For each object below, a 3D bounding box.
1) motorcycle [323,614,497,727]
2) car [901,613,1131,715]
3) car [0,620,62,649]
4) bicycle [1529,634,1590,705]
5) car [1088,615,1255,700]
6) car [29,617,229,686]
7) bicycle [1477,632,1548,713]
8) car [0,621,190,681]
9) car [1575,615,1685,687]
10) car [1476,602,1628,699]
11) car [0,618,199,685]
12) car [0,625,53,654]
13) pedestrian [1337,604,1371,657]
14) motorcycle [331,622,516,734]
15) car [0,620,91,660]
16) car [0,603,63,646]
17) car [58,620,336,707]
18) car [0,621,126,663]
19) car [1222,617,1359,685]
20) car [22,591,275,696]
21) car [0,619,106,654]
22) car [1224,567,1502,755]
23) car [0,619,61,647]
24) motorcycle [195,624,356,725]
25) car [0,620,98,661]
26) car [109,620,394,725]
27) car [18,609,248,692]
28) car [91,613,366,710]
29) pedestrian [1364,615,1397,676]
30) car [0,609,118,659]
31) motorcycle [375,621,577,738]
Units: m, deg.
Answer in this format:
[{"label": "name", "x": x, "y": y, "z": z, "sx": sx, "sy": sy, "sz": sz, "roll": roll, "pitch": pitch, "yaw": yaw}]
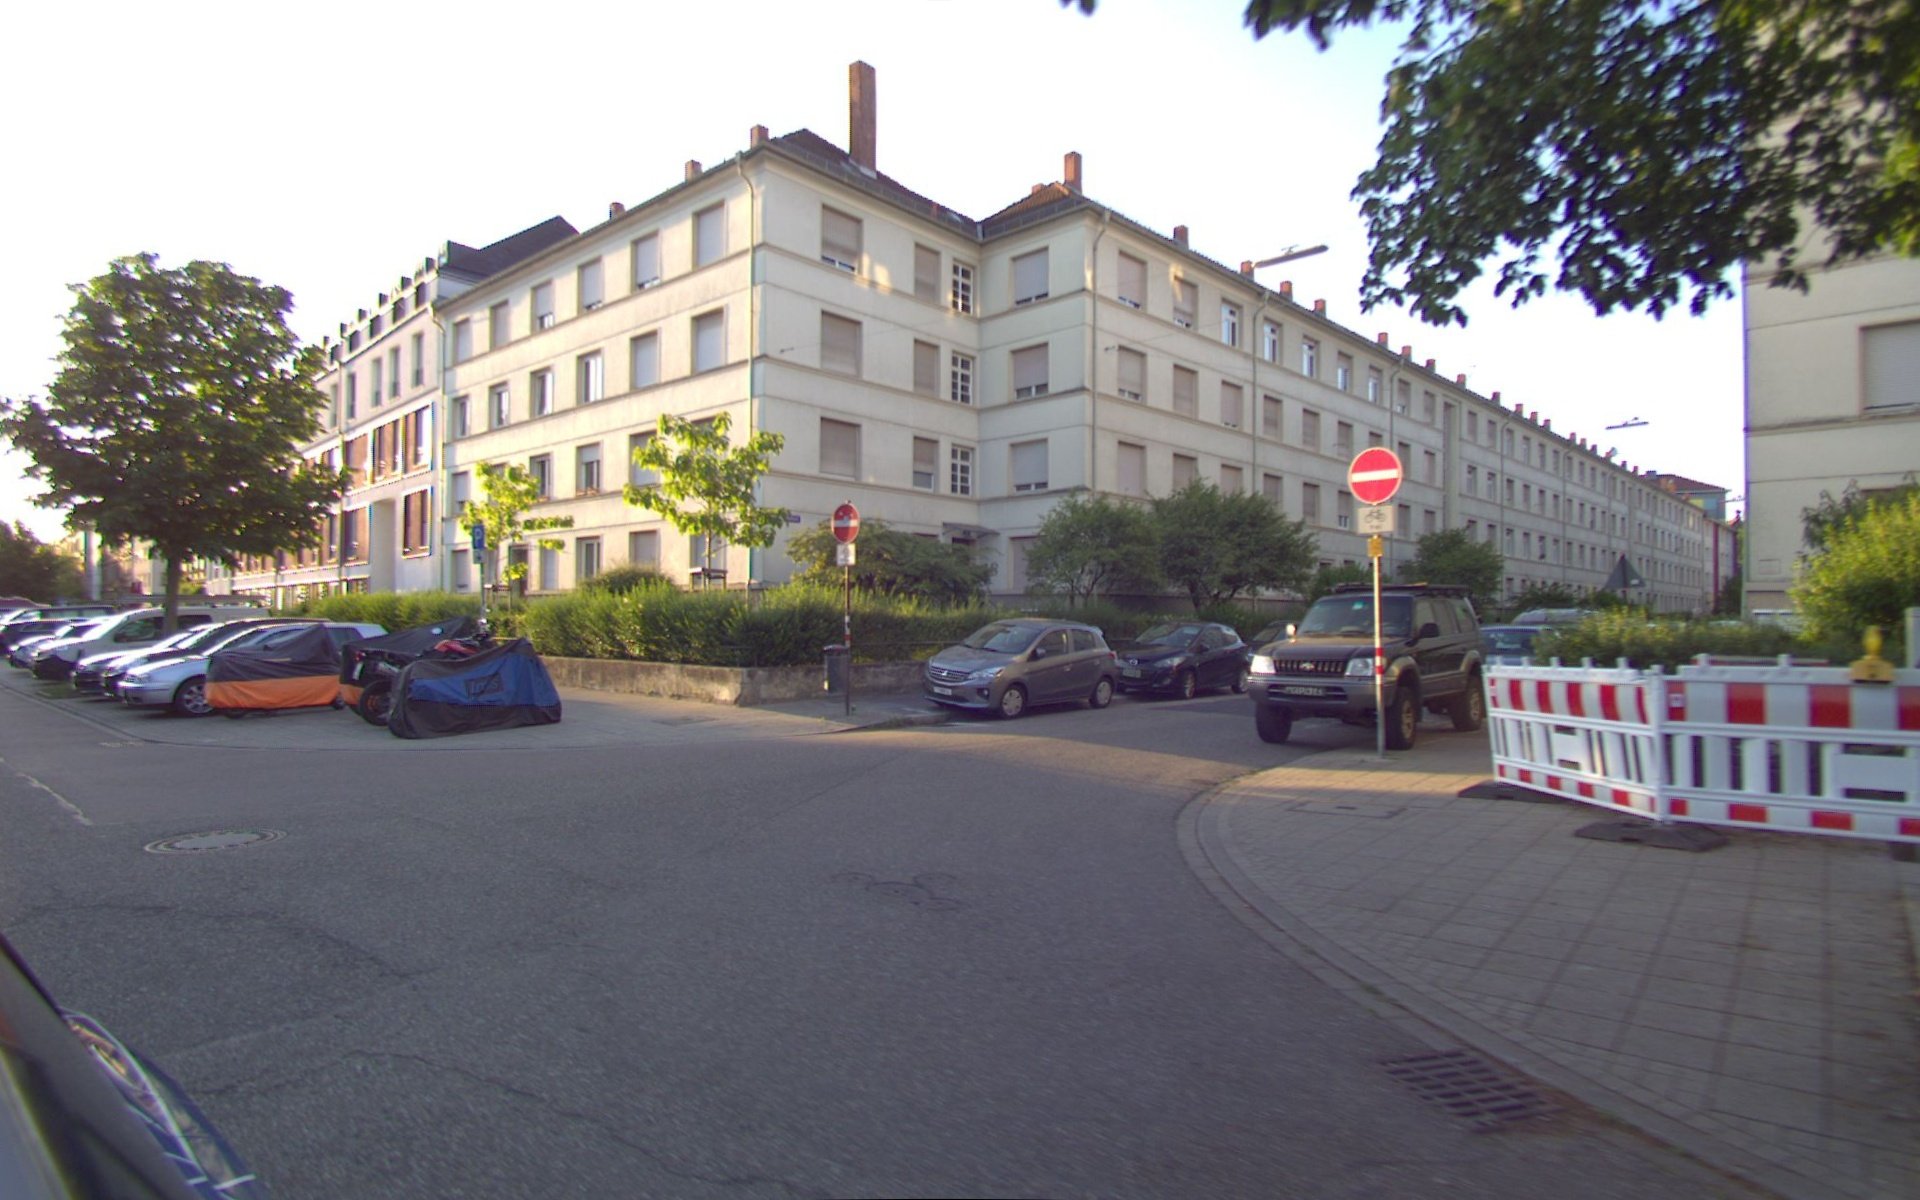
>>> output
[{"label": "motorcycle", "x": -8.314, "y": 1.010, "z": 15.384, "sx": 2.205, "sy": 1.594, "sz": 0.774, "roll": 0, "pitch": -1, "yaw": -45}, {"label": "car", "x": 1.011, "y": 0.972, "z": 16.912, "sx": 3.721, "sy": 1.475, "sz": 1.830, "roll": 0, "pitch": -1, "yaw": -45}, {"label": "car", "x": -53.885, "y": 1.983, "z": 57.744, "sx": 3.902, "sy": 1.551, "sz": 1.757, "roll": -1, "pitch": 0, "yaw": -44}, {"label": "bicycle", "x": 10.925, "y": 1.237, "z": 18.419, "sx": 0.432, "sy": 1.181, "sz": 2.183, "roll": -1, "pitch": -1, "yaw": 44}, {"label": "car", "x": 4.263, "y": 1.068, "z": 20.137, "sx": 1.728, "sy": 1.503, "sz": 3.421, "roll": -1, "pitch": -1, "yaw": 44}, {"label": "car", "x": -22.588, "y": 1.352, "z": 27.620, "sx": 1.755, "sy": 1.495, "sz": 3.945, "roll": -2, "pitch": 2, "yaw": 42}, {"label": "bicycle", "x": 8.961, "y": 1.133, "z": 16.372, "sx": 0.432, "sy": 1.181, "sz": 2.183, "roll": -1, "pitch": -1, "yaw": 44}, {"label": "car", "x": -26.451, "y": 1.496, "z": 30.906, "sx": 1.827, "sy": 1.462, "sz": 4.363, "roll": -1, "pitch": 1, "yaw": 41}, {"label": "car", "x": 16.355, "y": 1.175, "z": 24.661, "sx": 1.651, "sy": 1.615, "sz": 3.401, "roll": -1, "pitch": -1, "yaw": 44}, {"label": "car", "x": 12.509, "y": 0.969, "z": 21.283, "sx": 2.000, "sy": 1.832, "sz": 3.944, "roll": -1, "pitch": -1, "yaw": 42}, {"label": "car", "x": -24.670, "y": 1.413, "z": 29.100, "sx": 1.813, "sy": 1.633, "sz": 4.197, "roll": -2, "pitch": 0, "yaw": 43}, {"label": "car", "x": -50.879, "y": 2.097, "z": 53.571, "sx": 1.789, "sy": 1.505, "sz": 4.214, "roll": -1, "pitch": -1, "yaw": 45}, {"label": "pedestrian", "x": 12.491, "y": 0.972, "z": 32.077, "sx": 0.736, "sy": 1.649, "sz": 0.805, "roll": -2, "pitch": -2, "yaw": 44}, {"label": "motorcycle", "x": -7.572, "y": 1.042, "z": 14.376, "sx": 2.205, "sy": 1.447, "sz": 0.774, "roll": 0, "pitch": -1, "yaw": -45}, {"label": "car", "x": -46.288, "y": 1.977, "z": 50.513, "sx": 1.896, "sy": 1.910, "sz": 4.136, "roll": -1, "pitch": -1, "yaw": 39}, {"label": "car", "x": -57.478, "y": 1.464, "z": 61.526, "sx": 4.351, "sy": 2.576, "sz": 1.933, "roll": 0, "pitch": -1, "yaw": -45}, {"label": "car", "x": -15.407, "y": 1.197, "z": 20.595, "sx": 1.852, "sy": 1.416, "sz": 4.278, "roll": -1, "pitch": 1, "yaw": 44}, {"label": "car", "x": -35.950, "y": 1.637, "z": 40.179, "sx": 1.737, "sy": 1.426, "sz": 4.097, "roll": -1, "pitch": 1, "yaw": 39}, {"label": "car", "x": 7.809, "y": 1.134, "z": 23.751, "sx": 1.642, "sy": 1.423, "sz": 3.633, "roll": -1, "pitch": -1, "yaw": 44}, {"label": "car", "x": -19.141, "y": 0.944, "z": 24.004, "sx": 4.460, "sy": 2.086, "sz": 2.001, "roll": -3, "pitch": 1, "yaw": -44}, {"label": "car", "x": -44.537, "y": 1.754, "z": 49.395, "sx": 2.049, "sy": 1.601, "sz": 3.952, "roll": -1, "pitch": -2, "yaw": 35}, {"label": "car", "x": 5.449, "y": 0.678, "z": 13.323, "sx": 1.999, "sy": 2.029, "sz": 4.529, "roll": -1, "pitch": -1, "yaw": 41}, {"label": "car", "x": -55.628, "y": 1.938, "z": 59.330, "sx": 1.706, "sy": 1.536, "sz": 4.288, "roll": -1, "pitch": 0, "yaw": 44}, {"label": "motorcycle", "x": -10.651, "y": 1.112, "z": 15.809, "sx": 0.720, "sy": 1.447, "sz": 1.967, "roll": -1, "pitch": -1, "yaw": 37}, {"label": "car", "x": -38.028, "y": 1.651, "z": 41.516, "sx": 1.653, "sy": 1.504, "sz": 3.844, "roll": -1, "pitch": 1, "yaw": 41}, {"label": "car", "x": -11.831, "y": 1.125, "z": 17.057, "sx": 1.690, "sy": 1.517, "sz": 3.672, "roll": -1, "pitch": -1, "yaw": 43}, {"label": "car", "x": -21.062, "y": 1.210, "z": 25.893, "sx": 1.944, "sy": 1.815, "sz": 4.371, "roll": -2, "pitch": 0, "yaw": 45}, {"label": "car", "x": -13.556, "y": 1.061, "z": 18.916, "sx": 1.729, "sy": 1.595, "sz": 3.942, "roll": -1, "pitch": -1, "yaw": 44}, {"label": "pedestrian", "x": 13.110, "y": 1.412, "z": 31.560, "sx": 0.736, "sy": 1.890, "sz": 0.728, "roll": -1, "pitch": -3, "yaw": 44}, {"label": "car", "x": -39.567, "y": 1.457, "z": 43.698, "sx": 4.798, "sy": 2.070, "sz": 2.001, "roll": 2, "pitch": -2, "yaw": -44}, {"label": "motorcycle", "x": -6.582, "y": 1.019, "z": 13.872, "sx": 2.355, "sy": 1.447, "sz": 0.881, "roll": 0, "pitch": -1, "yaw": -45}]
